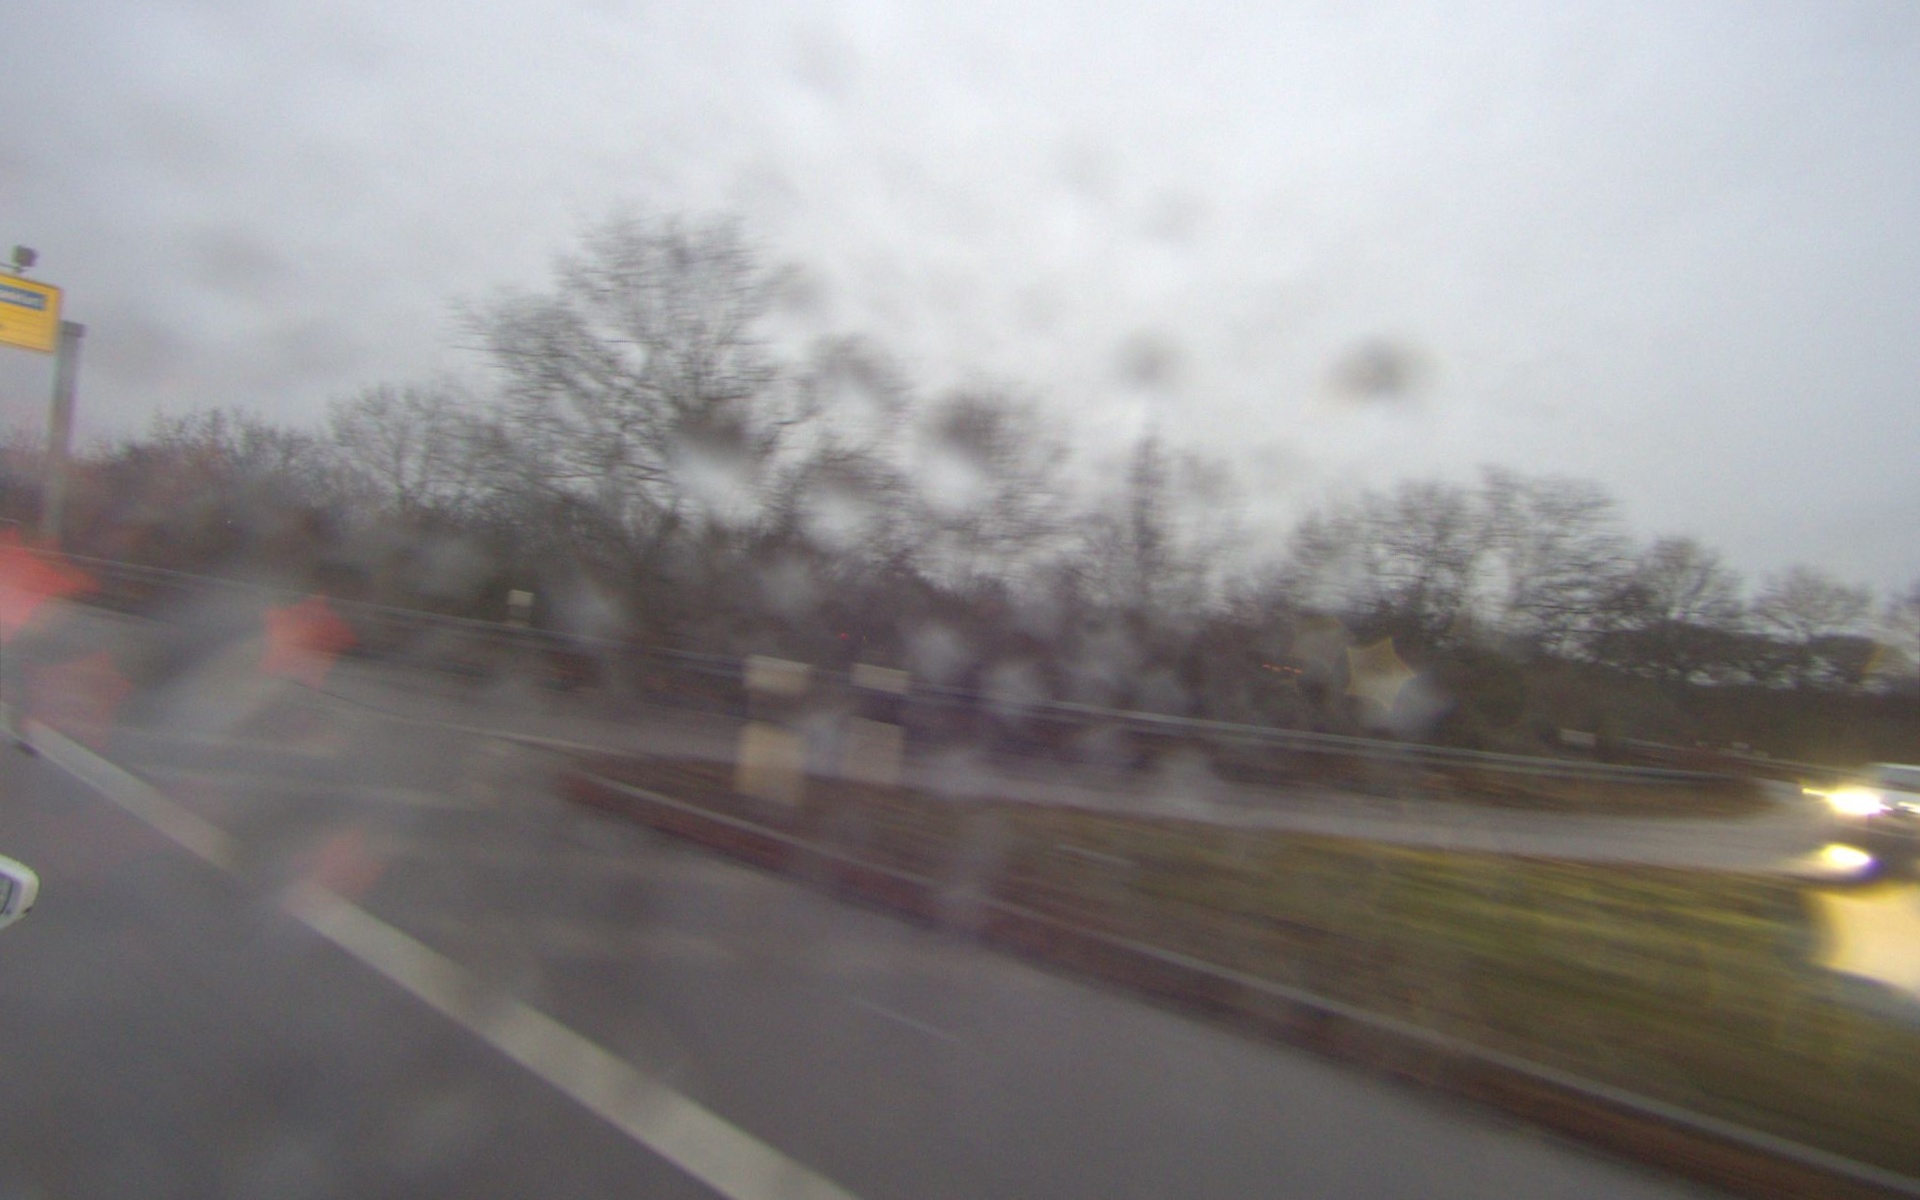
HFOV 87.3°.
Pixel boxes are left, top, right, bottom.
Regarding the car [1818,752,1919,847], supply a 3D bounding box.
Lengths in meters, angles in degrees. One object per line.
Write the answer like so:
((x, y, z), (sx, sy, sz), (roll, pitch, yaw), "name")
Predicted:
((17.770, 3.730, 18.610), (4.361, 1.374, 1.916), (9, -2, -37), "car")
